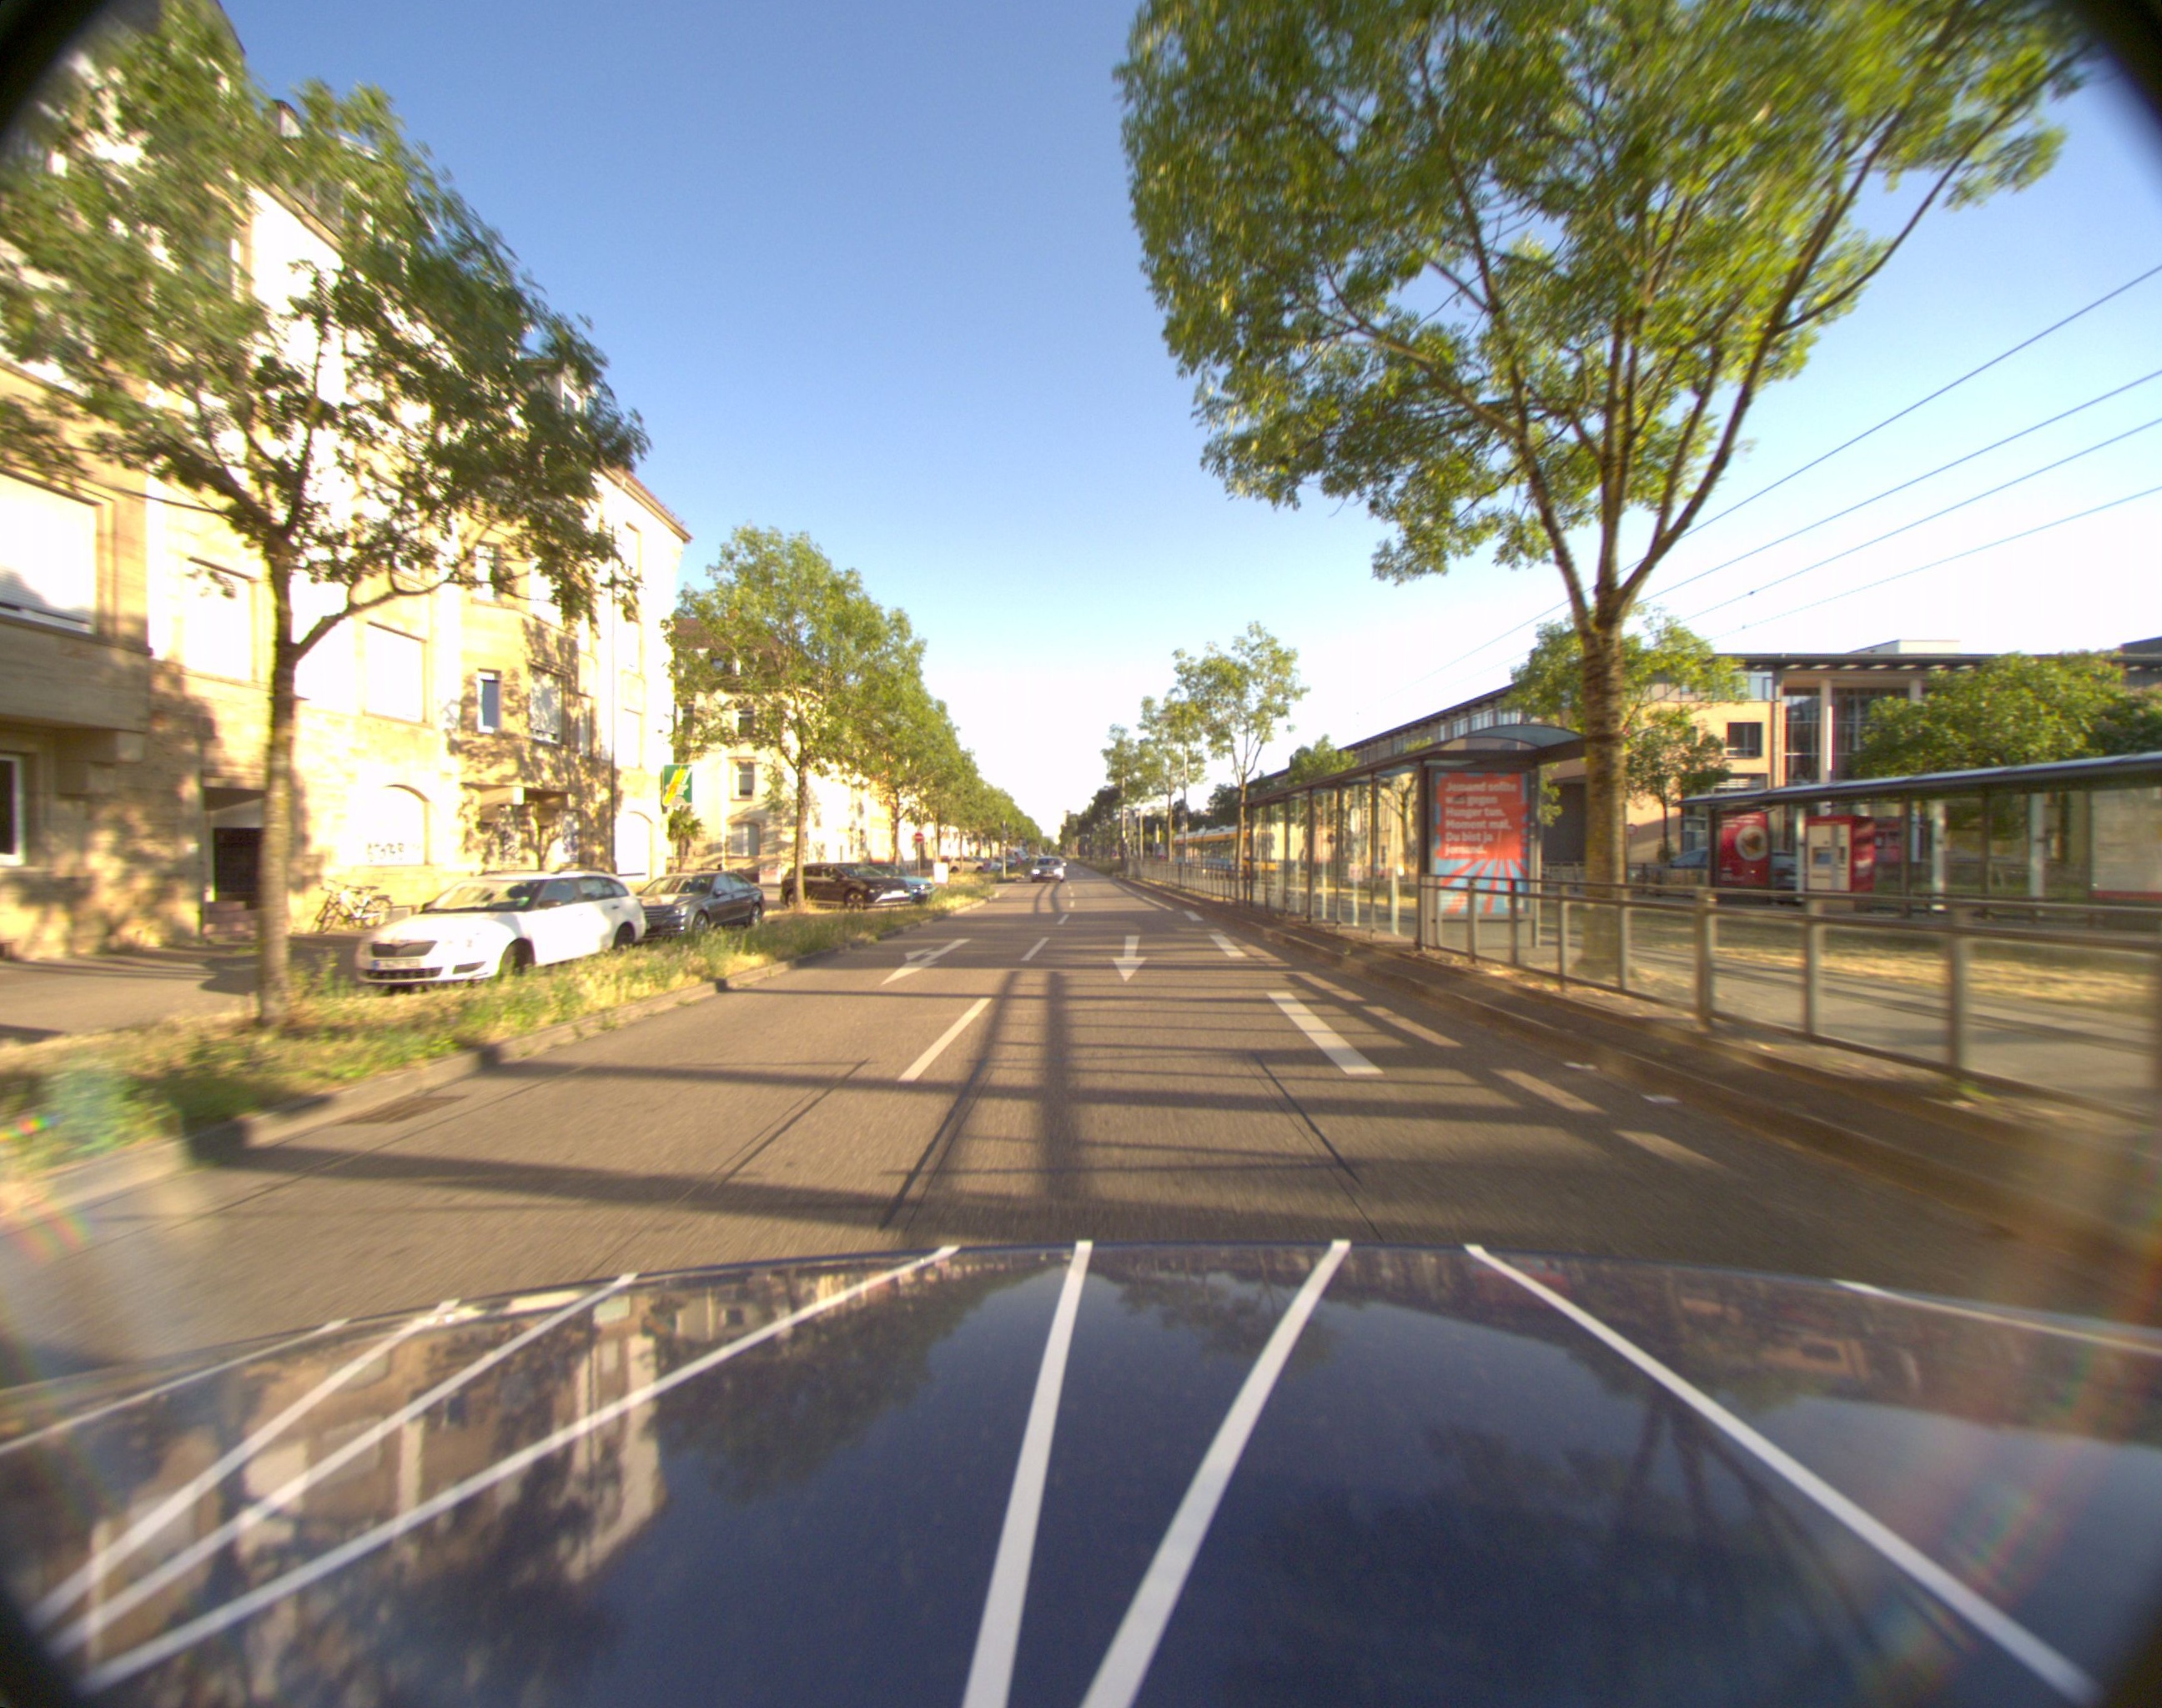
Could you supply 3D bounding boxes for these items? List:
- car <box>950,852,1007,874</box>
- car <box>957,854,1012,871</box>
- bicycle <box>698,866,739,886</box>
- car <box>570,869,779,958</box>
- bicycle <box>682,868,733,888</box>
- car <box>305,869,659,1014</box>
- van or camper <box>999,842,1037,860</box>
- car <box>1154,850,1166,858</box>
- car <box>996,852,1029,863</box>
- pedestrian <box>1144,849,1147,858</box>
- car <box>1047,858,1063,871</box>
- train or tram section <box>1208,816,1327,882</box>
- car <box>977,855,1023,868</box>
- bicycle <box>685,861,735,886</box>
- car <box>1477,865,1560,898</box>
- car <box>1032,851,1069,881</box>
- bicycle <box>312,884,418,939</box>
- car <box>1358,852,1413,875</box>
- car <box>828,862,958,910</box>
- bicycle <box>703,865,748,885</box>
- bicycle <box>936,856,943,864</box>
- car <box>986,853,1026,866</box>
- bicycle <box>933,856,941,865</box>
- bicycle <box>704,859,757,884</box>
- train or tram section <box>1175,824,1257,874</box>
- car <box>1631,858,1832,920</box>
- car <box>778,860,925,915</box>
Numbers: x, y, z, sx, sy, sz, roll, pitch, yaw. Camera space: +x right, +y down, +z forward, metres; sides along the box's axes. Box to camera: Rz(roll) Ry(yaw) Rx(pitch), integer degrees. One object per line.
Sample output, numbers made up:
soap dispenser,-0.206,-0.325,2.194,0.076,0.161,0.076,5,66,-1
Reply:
car,-8.272,0.719,61.216,4.420,1.681,1.920,-1,0,34
car,-8.555,0.774,67.232,4.543,1.392,2.034,0,1,29
bicycle,-20.234,1.217,42.395,1.978,1.117,0.575,-1,1,-5
car,-8.487,1.144,16.495,1.950,1.436,4.907,-3,0,-2
bicycle,-19.951,1.276,40.652,2.335,1.044,0.730,-1,1,-5
car,-8.139,1.056,10.970,1.730,1.503,4.271,-3,0,-2
van or camper,-9.973,-0.407,119.443,5.636,2.796,2.208,0,1,30
car,14.774,-0.048,142.298,1.795,1.368,3.999,-1,0,-2
car,-9.311,0.496,103.351,4.042,1.429,1.730,-1,1,27
pedestrian,12.509,-0.139,147.291,0.515,1.675,0.548,-1,1,-32
car,-3.207,1.331,95.574,1.870,1.586,3.952,-1,0,0
train or tram section,10.665,-0.321,45.614,3.440,3.320,13.854,-1,0,-1
car,-8.586,0.800,79.991,4.570,1.340,1.900,0,1,31
bicycle,-20.209,1.059,41.434,2.356,1.312,0.730,-1,1,-5
car,20.084,1.240,35.054,1.544,1.290,3.688,1,1,-2
car,-1.784,0.669,44.212,1.999,1.655,3.999,0,0,-3
bicycle,-15.700,1.237,16.729,0.574,1.067,1.896,0,0,-2
car,20.604,0.626,51.558,1.867,1.499,3.998,-1,0,-5
car,-6.530,1.066,26.295,4.276,1.513,1.850,-1,0,31
bicycle,-20.123,1.202,43.046,2.211,1.099,0.538,-1,1,-5
bicycle,-18.006,0.795,96.783,0.580,0.985,1.927,-1,0,-2
car,-8.893,0.614,89.939,4.633,1.501,1.851,0,1,34
bicycle,-17.932,0.758,94.654,0.589,1.072,2.227,1,0,-2
bicycle,-20.268,1.005,43.916,2.672,1.376,0.730,-1,1,-5
train or tram section,10.306,-0.430,60.094,3.440,3.410,15.023,-1,0,-1
car,17.994,0.896,21.339,1.867,1.499,4.360,-1,0,-1
car,-7.237,1.054,23.866,4.330,1.562,2.005,-2,0,31
